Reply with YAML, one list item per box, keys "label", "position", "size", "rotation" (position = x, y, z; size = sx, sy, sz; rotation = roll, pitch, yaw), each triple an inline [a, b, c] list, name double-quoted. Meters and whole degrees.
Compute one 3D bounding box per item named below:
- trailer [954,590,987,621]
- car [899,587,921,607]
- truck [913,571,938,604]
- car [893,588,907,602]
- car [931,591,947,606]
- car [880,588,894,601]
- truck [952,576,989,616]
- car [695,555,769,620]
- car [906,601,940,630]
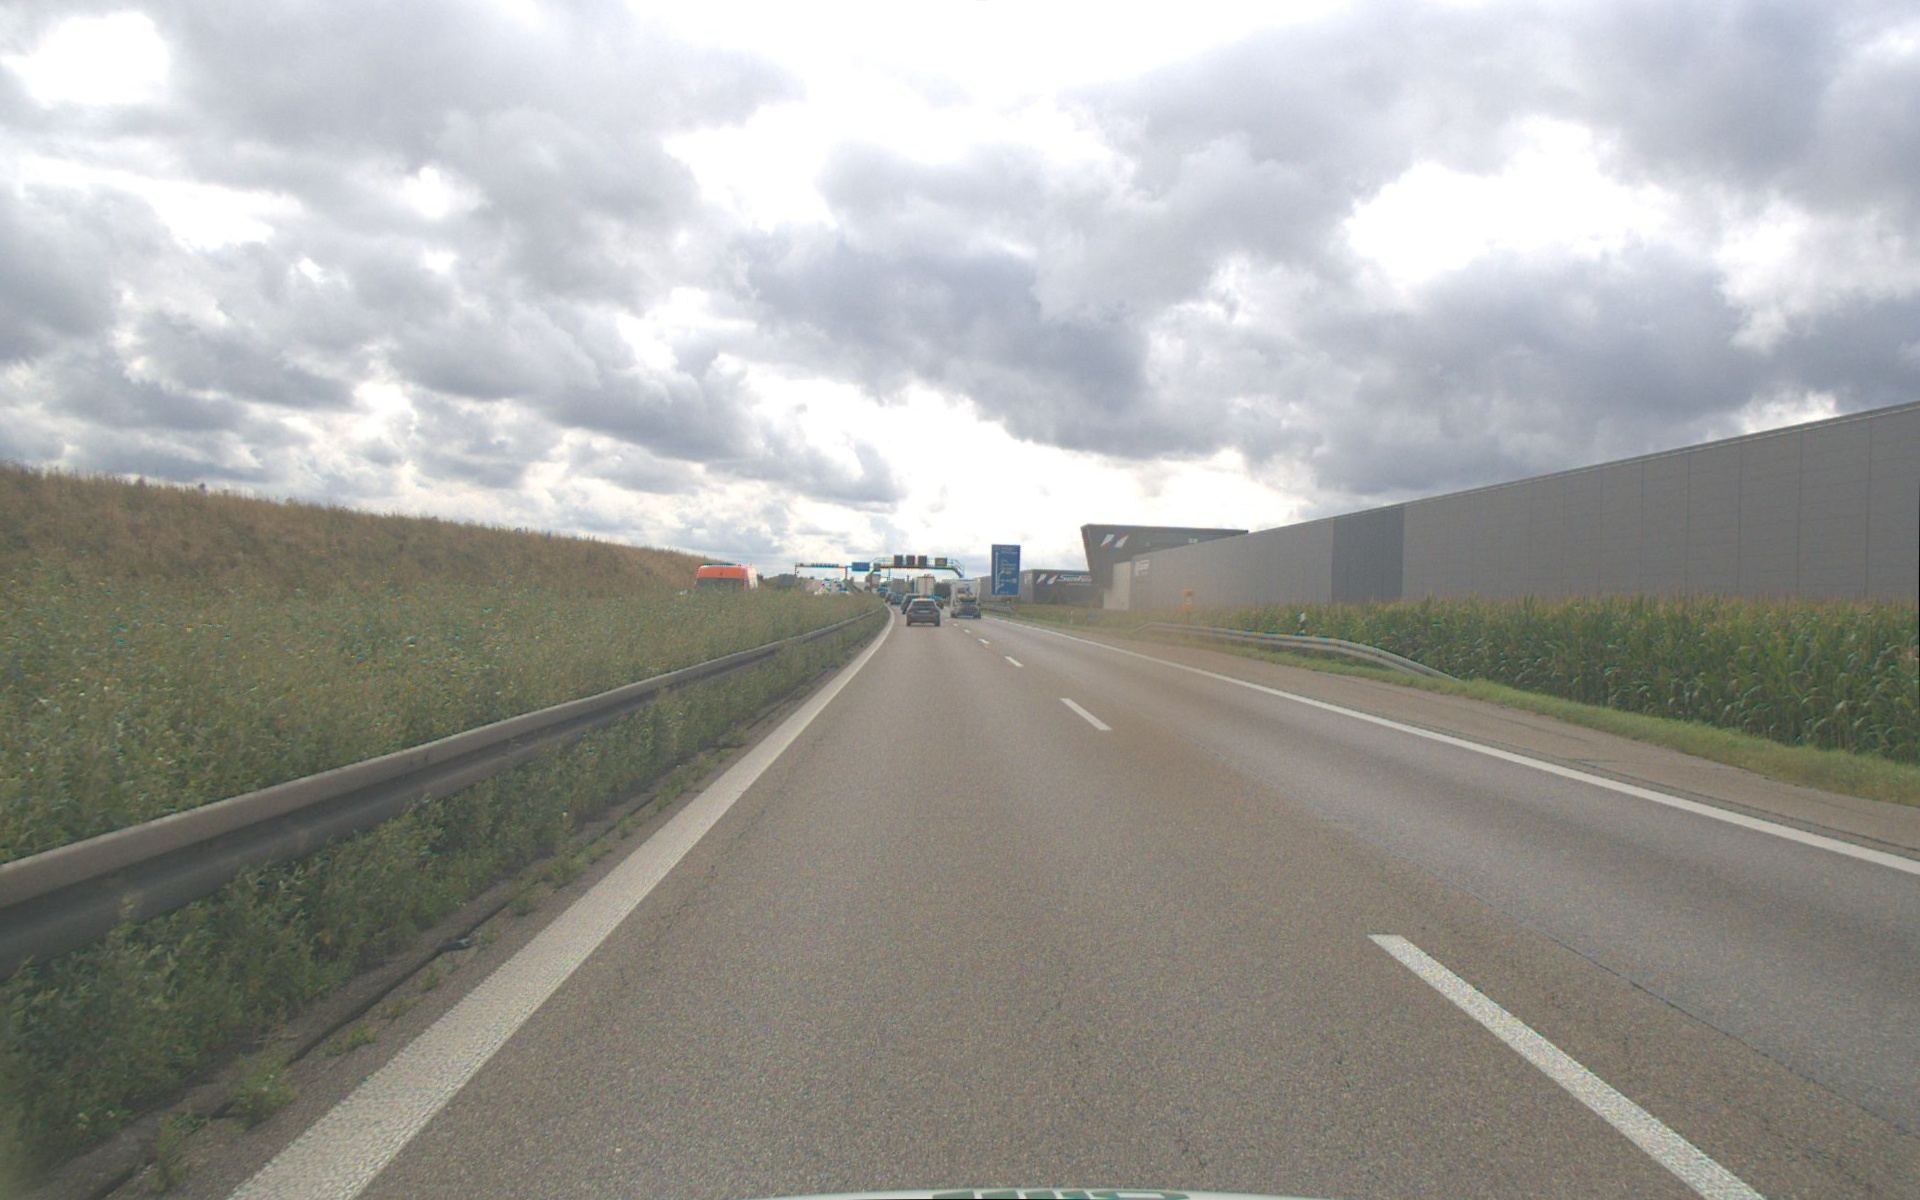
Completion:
- label: "trailer"
  position: [0.752, 0.418, 121.314]
  size: [2.291, 2.173, 3.999]
  rotation: [1, 0, -2]
- label: "car"
  position: [-4.411, -0.278, 146.368]
  size: [1.906, 1.714, 3.999]
  rotation: [1, 0, -2]
- label: "truck"
  position: [-5.087, -1.804, 243.269]
  size: [3.273, 4.613, 8.011]
  rotation: [1, 0, -4]
- label: "car"
  position: [-8.260, -0.709, 227.651]
  size: [1.904, 1.806, 3.695]
  rotation: [1, 0, -2]
- label: "car"
  position: [-2.522, -0.193, 196.694]
  size: [1.765, 1.714, 3.998]
  rotation: [1, 0, -2]
- label: "car"
  position: [-11.467, -0.836, 259.875]
  size: [1.953, 2.049, 3.999]
  rotation: [1, 0, -1]
- label: "truck"
  position: [0.763, -0.276, 128.224]
  size: [2.433, 3.002, 5.810]
  rotation: [1, 0, -4]
- label: "car"
  position: [-8.587, -0.447, 62.703]
  size: [2.081, 2.306, 5.451]
  rotation: [1, 0, -1]
- label: "car"
  position: [-1.980, 0.817, 88.008]
  size: [1.711, 1.478, 3.999]
  rotation: [1, 0, -2]
